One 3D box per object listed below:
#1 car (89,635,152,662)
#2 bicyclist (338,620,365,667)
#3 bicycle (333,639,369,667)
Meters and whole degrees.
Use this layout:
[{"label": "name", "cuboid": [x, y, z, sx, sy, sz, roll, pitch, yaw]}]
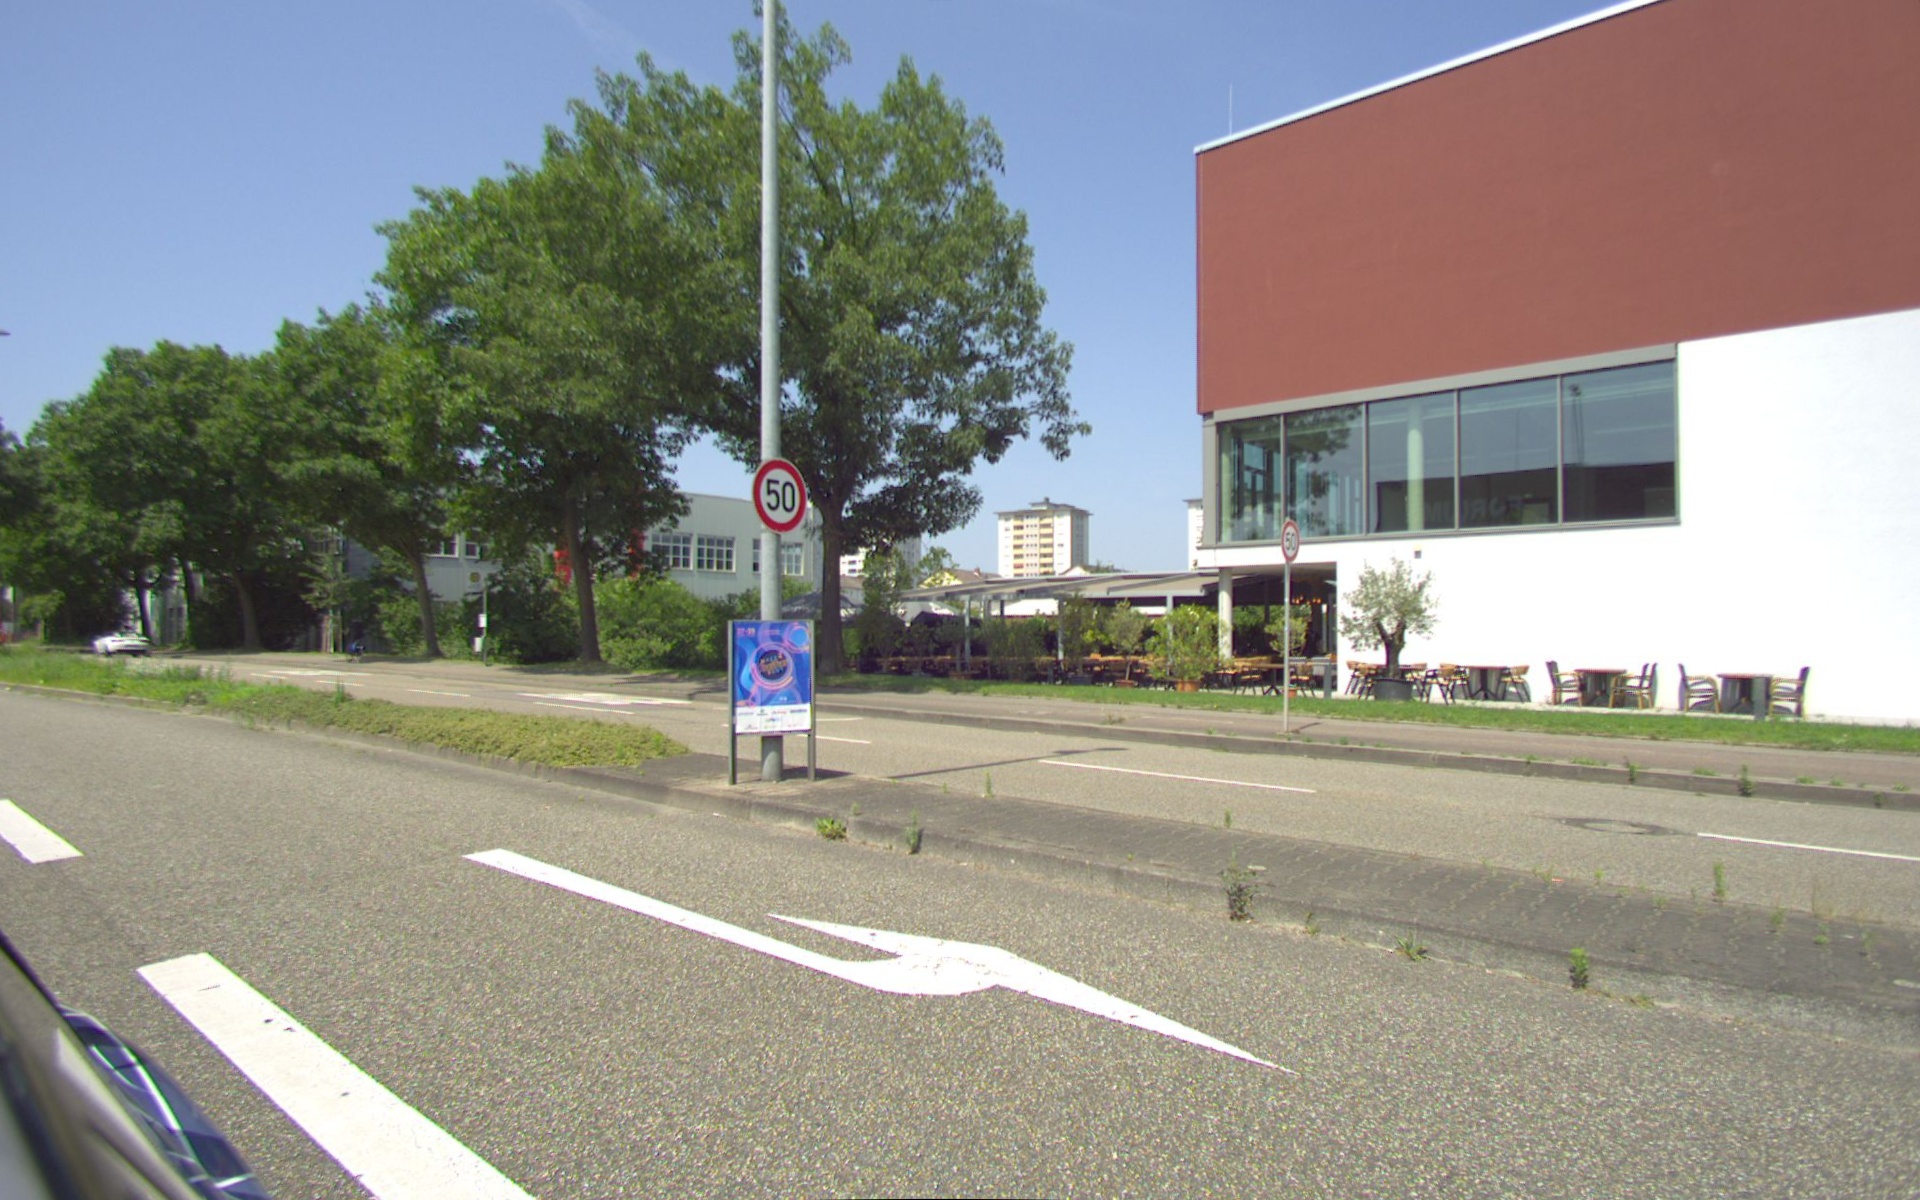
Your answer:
[{"label": "car", "cuboid": [-42.803, 2.460, 51.557, 4.298, 1.272, 1.700, -1, -4, 40]}, {"label": "bicyclist", "cuboid": [-23.403, 1.667, 38.916, 0.927, 1.783, 0.643, -2, -2, 41]}, {"label": "bicycle", "cuboid": [-23.437, 2.025, 38.928, 1.883, 1.059, 0.648, -1, -2, 41]}]
